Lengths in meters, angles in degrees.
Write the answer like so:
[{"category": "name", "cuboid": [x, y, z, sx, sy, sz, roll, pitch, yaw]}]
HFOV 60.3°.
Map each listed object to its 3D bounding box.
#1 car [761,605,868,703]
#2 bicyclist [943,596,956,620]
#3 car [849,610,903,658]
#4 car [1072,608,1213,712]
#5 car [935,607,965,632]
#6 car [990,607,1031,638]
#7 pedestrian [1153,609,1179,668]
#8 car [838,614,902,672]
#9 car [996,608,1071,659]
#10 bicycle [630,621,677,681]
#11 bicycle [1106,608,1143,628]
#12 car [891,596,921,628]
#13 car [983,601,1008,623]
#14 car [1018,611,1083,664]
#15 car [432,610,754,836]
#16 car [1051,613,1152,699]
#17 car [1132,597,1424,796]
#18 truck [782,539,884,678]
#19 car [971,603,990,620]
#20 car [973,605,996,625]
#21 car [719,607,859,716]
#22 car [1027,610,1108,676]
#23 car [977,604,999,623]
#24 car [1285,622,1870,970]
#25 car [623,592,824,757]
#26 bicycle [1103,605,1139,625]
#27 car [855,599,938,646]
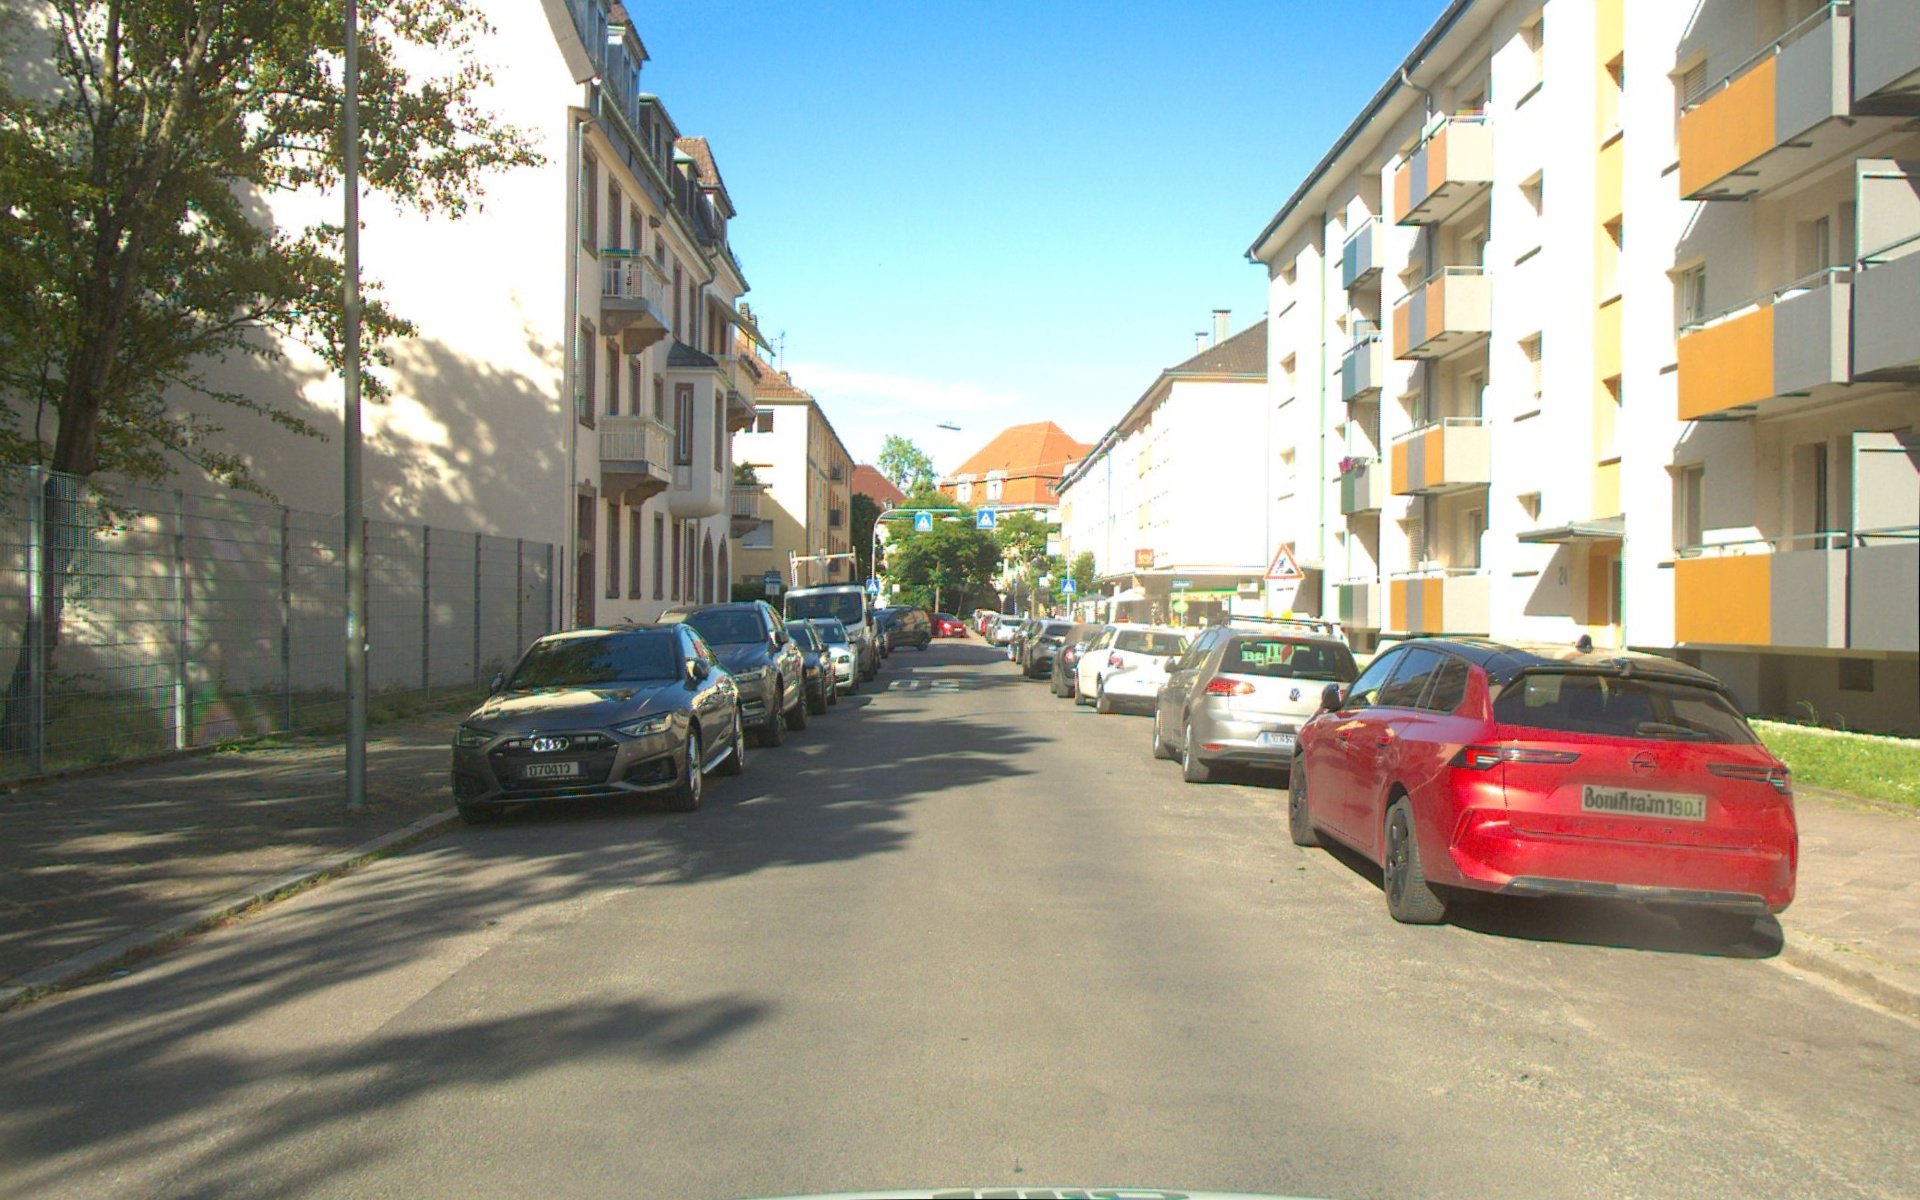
[{"category": "car", "cuboid": [-2.800, 0.988, 32.633, 1.757, 1.567, 4.639, -6, 1, -3]}, {"category": "bicyclist", "cuboid": [-0.738, 0.540, 117.014, 0.769, 1.649, 0.956, -2, 0, 4]}, {"category": "car", "cuboid": [-2.859, 1.151, 56.351, 1.670, 1.440, 4.371, -4, -1, -3]}, {"category": "car", "cuboid": [3.022, 0.964, 28.075, 1.653, 1.488, 3.817, 5, -1, -3]}, {"category": "car", "cuboid": [-0.599, 1.175, 98.779, 1.662, 1.466, 3.419, 0, 0, 1]}, {"category": "car", "cuboid": [2.458, 1.087, 80.882, 1.808, 1.466, 3.417, 0, 0, -2]}, {"category": "pedestrian", "cuboid": [5.229, 0.969, 41.980, 0.563, 1.458, 0.471, -2, 0, 1]}, {"category": "car", "cuboid": [-2.513, 1.181, 46.385, 1.613, 1.440, 4.078, -4, -1, -3]}, {"category": "car", "cuboid": [2.317, 1.078, 53.568, 1.817, 1.550, 4.772, 1, -1, -5]}, {"category": "bicycle", "cuboid": [-6.759, 1.110, 36.595, 0.616, 1.225, 2.340, 0, 0, 0]}, {"category": "bicycle", "cuboid": [8.430, 0.925, 84.683, 1.774, 0.984, 0.672, 0, 0, -11]}, {"category": "car", "cuboid": [-3.170, 0.706, 97.296, 1.663, 1.810, 4.098, 0, 0, 0]}, {"category": "car", "cuboid": [2.412, 0.814, 112.512, 1.604, 1.466, 3.418, 0, 0, -1]}, {"category": "car", "cuboid": [2.609, 1.082, 48.465, 1.612, 1.485, 3.938, 1, -1, -1]}, {"category": "car", "cuboid": [-2.830, 0.868, 13.758, 1.758, 1.496, 4.500, -2, 0, -2]}, {"category": "car", "cuboid": [2.755, 1.061, 32.745, 1.653, 1.492, 3.583, 2, 0, 0]}, {"category": "car", "cuboid": [2.980, 0.847, 16.549, 1.860, 1.650, 4.600, 2, 0, -2]}, {"category": "truck", "cuboid": [-2.966, 0.218, 39.797, 2.214, 3.038, 7.271, 0, -1, -3]}, {"category": "car", "cuboid": [1.782, 1.019, 147.030, 1.604, 1.466, 3.418, 0, 0, -1]}, {"category": "car", "cuboid": [1.829, 1.095, 123.190, 1.604, 1.466, 3.418, 0, 0, -1]}, {"category": "car", "cuboid": [-2.656, 0.937, 26.638, 1.755, 1.590, 4.459, 1, -1, 0]}, {"category": "car", "cuboid": [2.709, 1.081, 42.473, 1.755, 1.496, 4.338, 4, -1, 0]}, {"category": "car", "cuboid": [2.172, 1.035, 127.828, 1.604, 1.466, 3.418, 0, 0, -1]}, {"category": "car", "cuboid": [3.117, 0.879, 9.424, 1.716, 1.469, 4.523, 0, 0, 1]}, {"category": "car", "cuboid": [-2.751, 0.817, 20.276, 1.841, 1.693, 4.929, -2, 0, -2]}, {"category": "bicycle", "cuboid": [8.310, 0.765, 85.312, 1.774, 0.984, 0.672, 0, 0, -11]}, {"category": "car", "cuboid": [-2.348, 0.827, 62.583, 1.783, 1.662, 4.259, -1, 0, 18]}]
